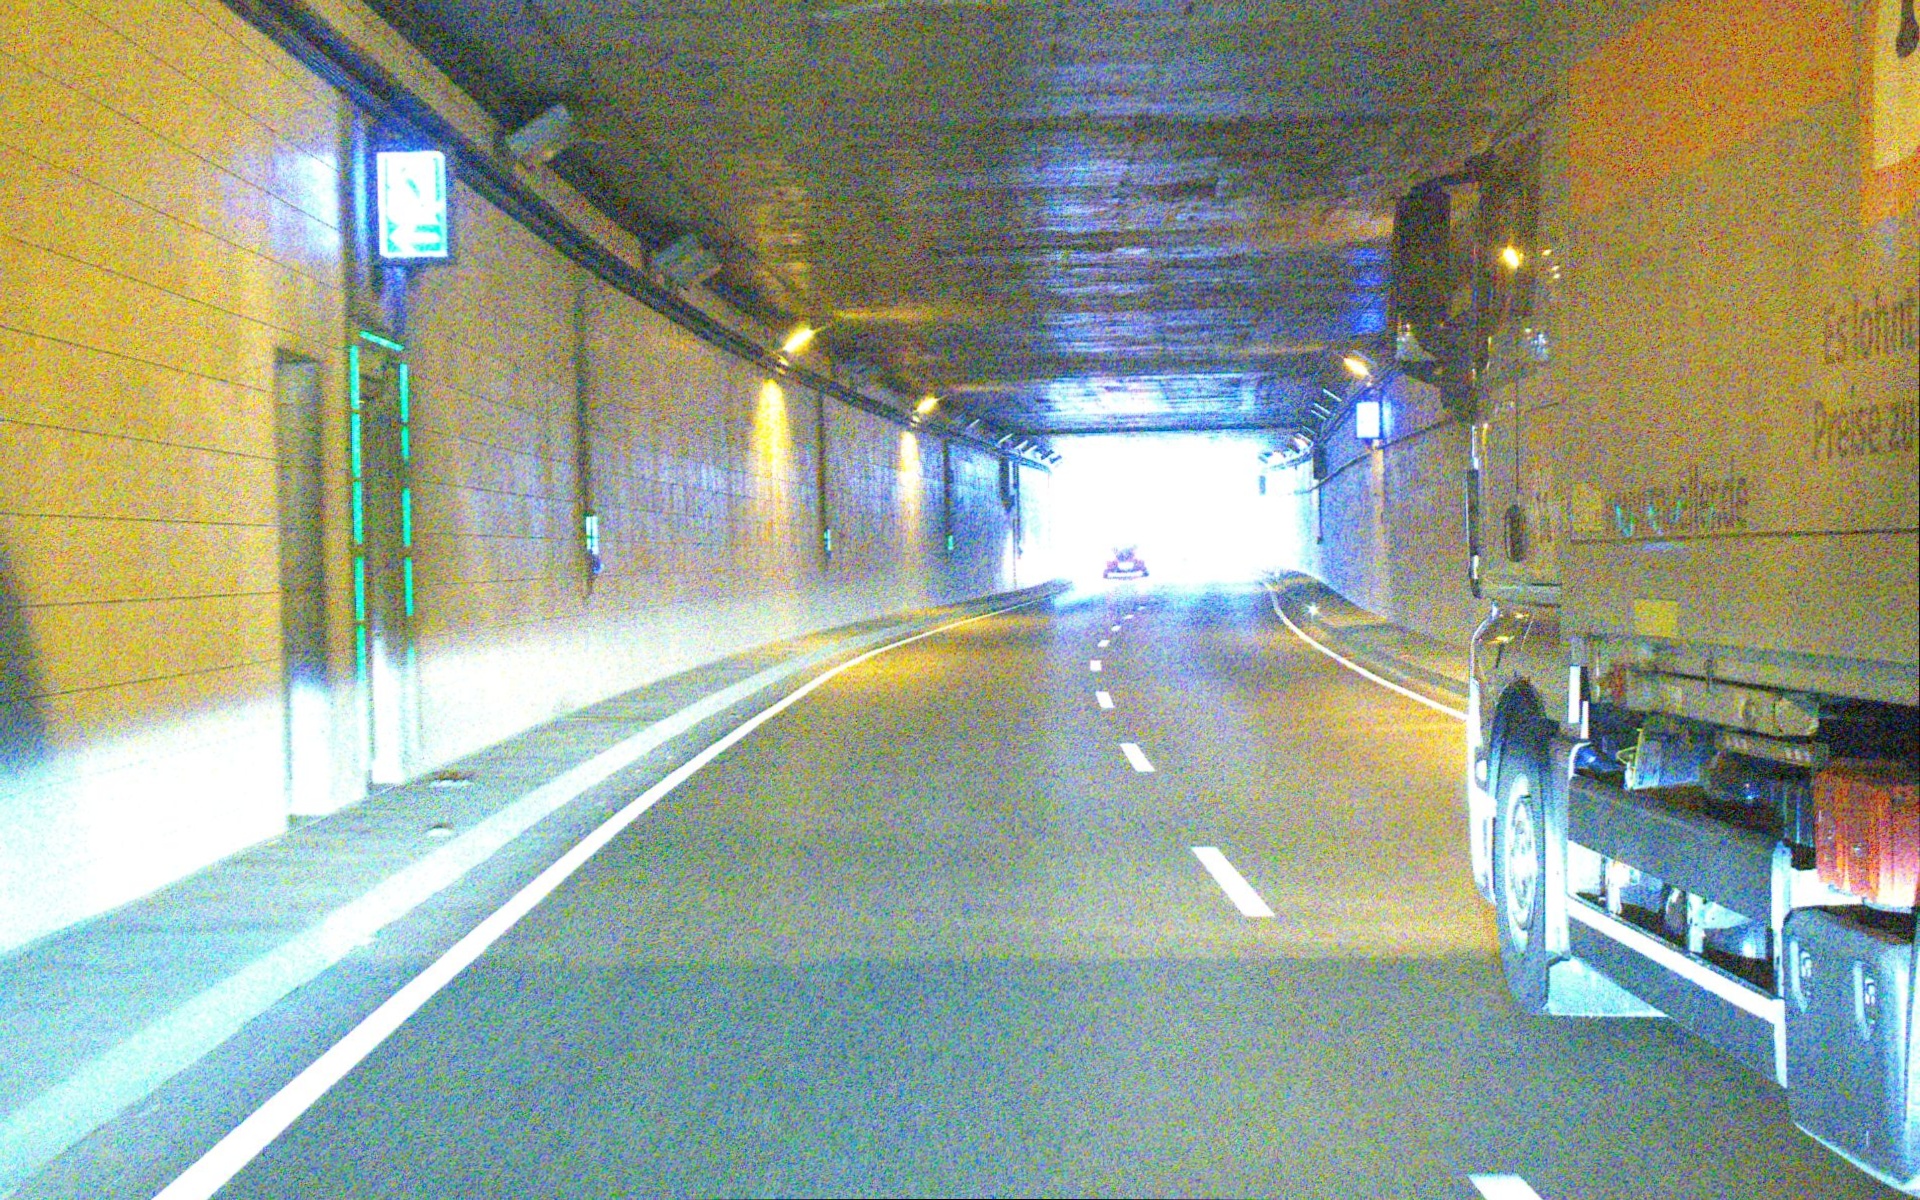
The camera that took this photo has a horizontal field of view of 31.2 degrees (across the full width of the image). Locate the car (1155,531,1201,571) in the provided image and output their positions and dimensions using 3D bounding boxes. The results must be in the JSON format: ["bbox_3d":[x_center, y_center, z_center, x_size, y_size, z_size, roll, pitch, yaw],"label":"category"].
[{"bbox_3d":[9.686,-2.156,152.717,1.869,1.726,4.000,-1,1,2],"label":"car"}]

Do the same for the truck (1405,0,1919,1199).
[{"bbox_3d":[3.135,-0.551,7.468,2.888,3.900,9.910,-1,1,-1],"label":"truck"}]

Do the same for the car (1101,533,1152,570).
[{"bbox_3d":[6.526,-1.884,134.348,1.841,1.384,3.999,-1,1,5],"label":"car"}]
